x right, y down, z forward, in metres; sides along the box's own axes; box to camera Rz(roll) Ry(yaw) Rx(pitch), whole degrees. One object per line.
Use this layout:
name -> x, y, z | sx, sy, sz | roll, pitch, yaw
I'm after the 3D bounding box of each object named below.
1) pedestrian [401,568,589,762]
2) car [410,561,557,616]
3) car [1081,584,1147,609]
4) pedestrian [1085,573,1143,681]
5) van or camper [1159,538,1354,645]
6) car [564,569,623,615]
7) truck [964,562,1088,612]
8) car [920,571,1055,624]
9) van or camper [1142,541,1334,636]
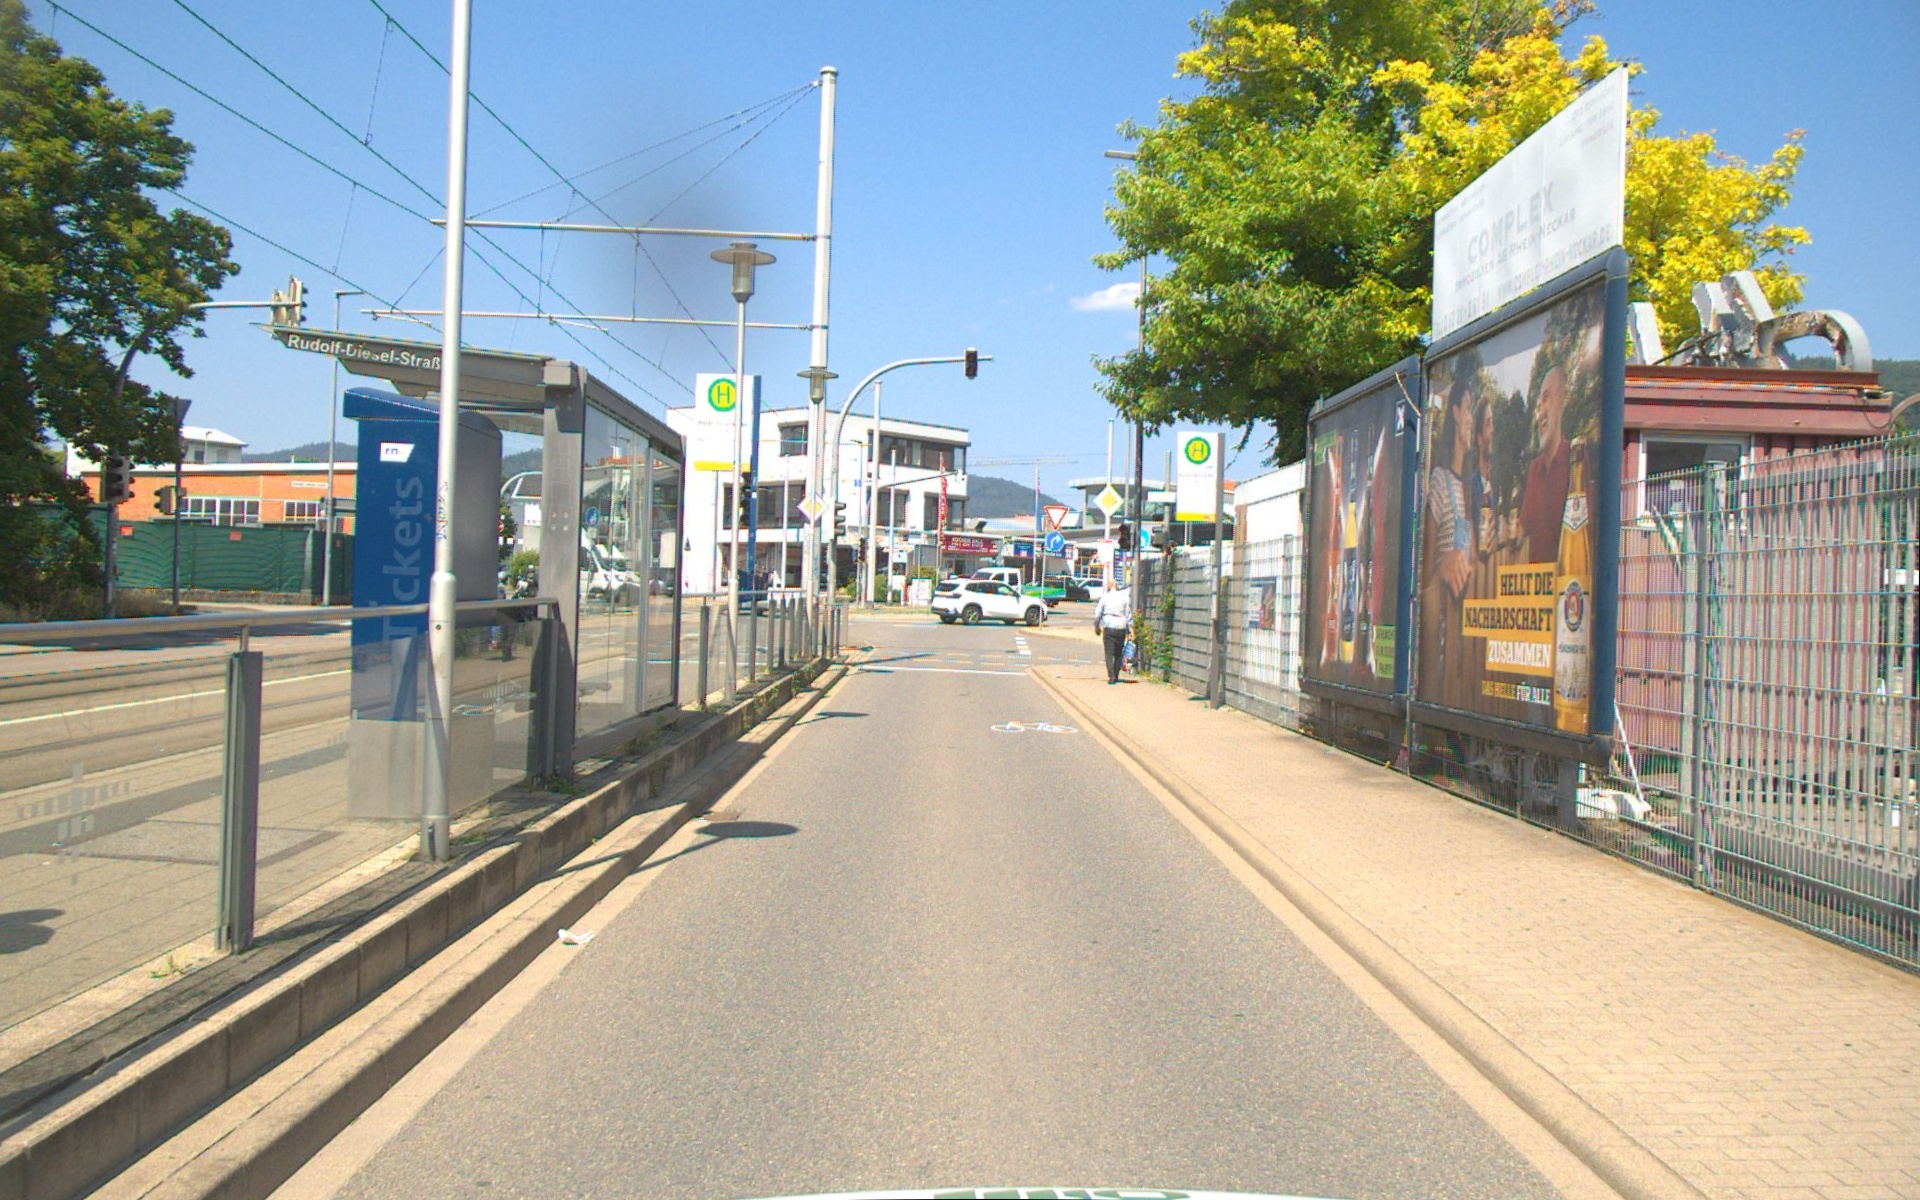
pedestrian -> -2.862, 0.382, 10.247 | 0.924, 1.118, 0.726 | 3, 1, -1
car -> -14.447, -0.324, 50.371 | 1.768, 1.564, 4.151 | 2, 0, 32
car -> 10.351, -0.222, 110.990 | 1.853, 1.616, 4.897 | -1, -1, 42
pedestrian -> 2.507, 0.428, 26.999 | 0.796, 1.729, 0.887 | 1, 0, -3
van or camper -> 8.693, -0.290, 48.876 | 5.391, 2.862, 2.049 | 2, 2, 3
car -> -17.951, -0.356, 81.196 | 2.120, 2.049, 5.011 | 2, -1, -6
truck -> 3.471, -0.652, 86.247 | 6.303, 2.378, 2.187 | 2, 0, -31
car -> 0.992, -0.097, 59.795 | 4.499, 1.763, 1.981 | 2, 0, -30
van or camper -> 8.675, -0.377, 51.958 | 5.690, 2.822, 2.092 | 1, 1, 2
